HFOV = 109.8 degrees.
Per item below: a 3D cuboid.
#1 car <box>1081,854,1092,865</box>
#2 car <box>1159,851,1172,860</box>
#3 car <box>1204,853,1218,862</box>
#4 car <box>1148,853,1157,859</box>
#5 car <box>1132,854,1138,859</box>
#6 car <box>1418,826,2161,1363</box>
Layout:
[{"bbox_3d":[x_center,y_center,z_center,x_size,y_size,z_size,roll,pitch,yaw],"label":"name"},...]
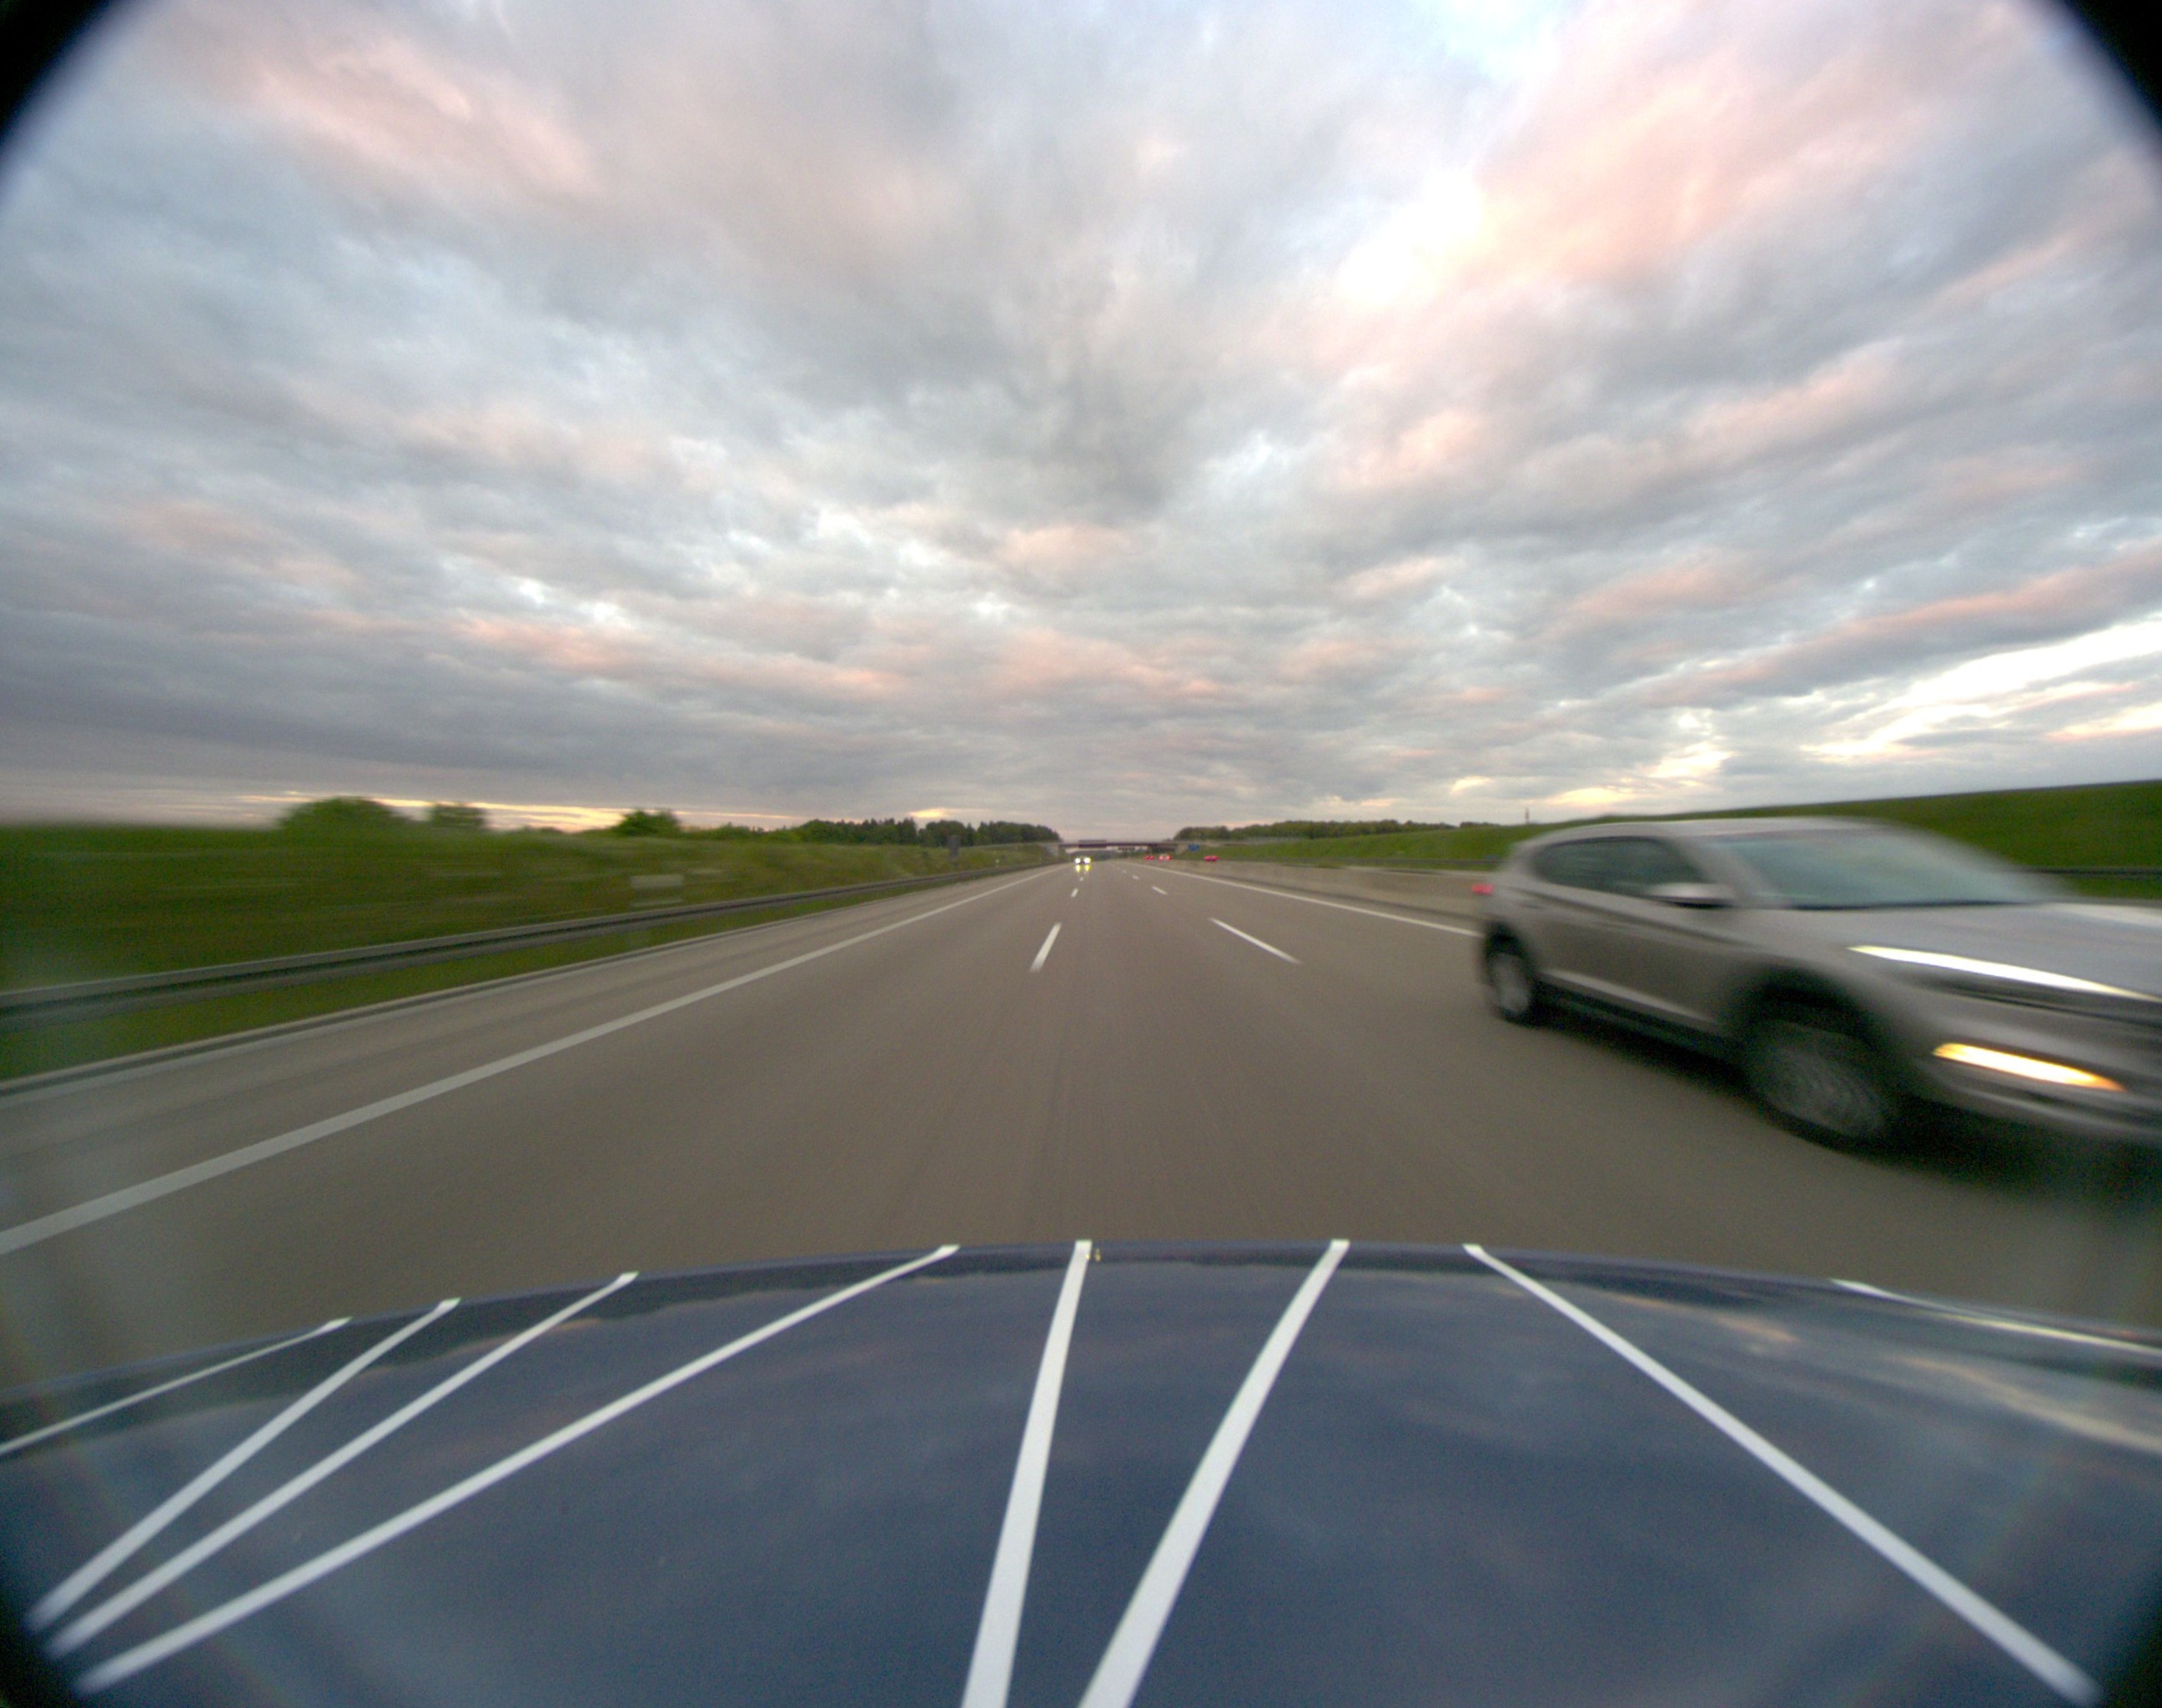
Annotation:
[{"bbox_3d":[0.957,0.911,130.935,1.801,1.674,4.385,-1,1,1],"label":"car"},{"bbox_3d":[17.719,0.298,159.457,1.998,1.725,5.182,-1,0,0],"label":"car"},{"bbox_3d":[22.041,0.557,129.066,1.743,1.384,4.342,-1,0,1],"label":"car"},{"bbox_3d":[21.696,0.592,231.037,2.105,1.800,5.021,-1,1,1],"label":"car"},{"bbox_3d":[17.628,0.808,247.089,1.743,1.490,4.131,-1,0,1],"label":"car"},{"bbox_3d":[4.363,0.724,5.070,1.857,1.682,5.512,-2,0,1],"label":"car"}]
